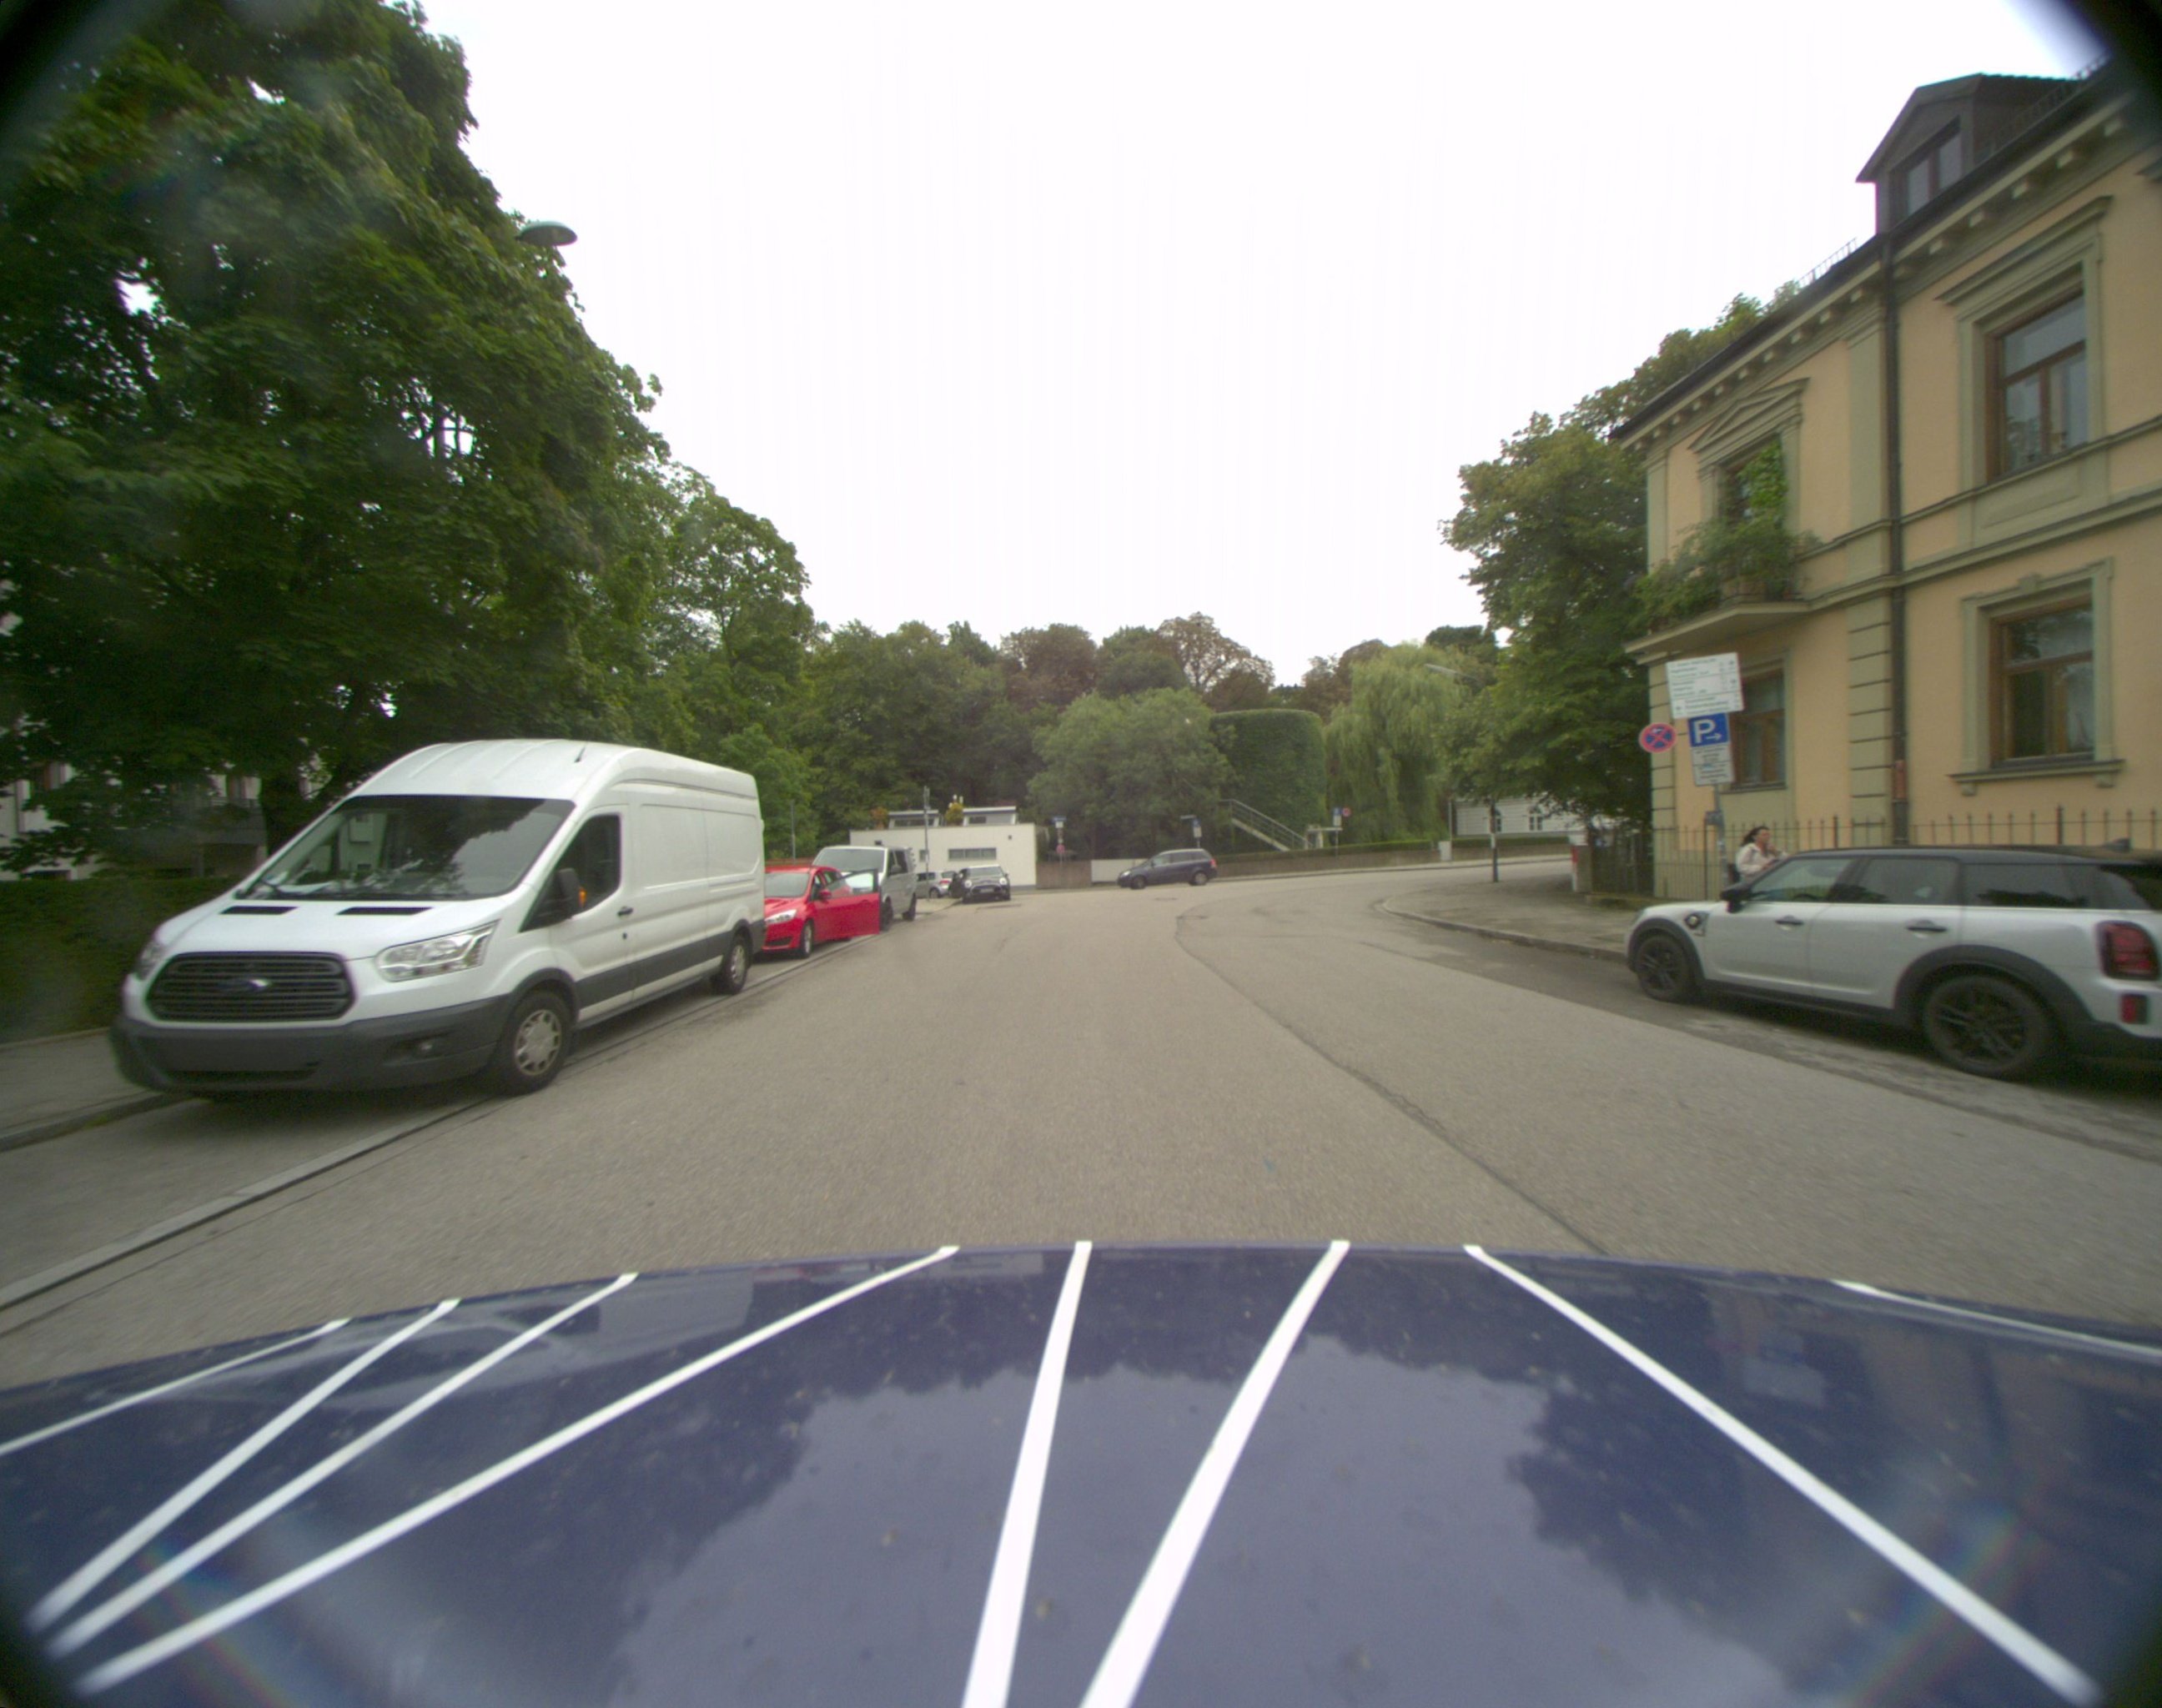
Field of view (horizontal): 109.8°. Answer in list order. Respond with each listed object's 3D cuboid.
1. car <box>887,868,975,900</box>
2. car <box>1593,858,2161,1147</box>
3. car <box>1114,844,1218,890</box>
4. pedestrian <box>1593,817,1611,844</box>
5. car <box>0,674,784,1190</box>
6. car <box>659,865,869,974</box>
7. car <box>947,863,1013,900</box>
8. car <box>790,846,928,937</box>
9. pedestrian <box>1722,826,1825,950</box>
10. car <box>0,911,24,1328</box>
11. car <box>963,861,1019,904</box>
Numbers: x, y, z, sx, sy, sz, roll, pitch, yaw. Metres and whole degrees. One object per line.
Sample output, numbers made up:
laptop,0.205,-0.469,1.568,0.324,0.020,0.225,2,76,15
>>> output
car,-7.495,1.502,37.925,4.005,1.437,1.945,-4,-2,32
car,6.819,0.827,6.360,1.941,1.526,4.530,1,0,-1
car,3.733,0.596,34.162,4.331,1.682,2.000,-4,-2,-1
pedestrian,33.556,-1.505,48.934,0.769,1.697,0.678,-3,5,-39
car,-4.824,0.422,7.030,2.085,2.671,6.086,0,0,-4
car,-5.192,0.974,13.253,1.876,1.498,4.836,1,0,-4
car,-4.596,1.245,34.021,1.899,1.438,4.009,-4,-1,-22
car,-5.175,0.792,18.489,1.940,1.893,5.071,0,0,-1
pedestrian,9.325,0.442,10.261,0.655,1.594,0.740,-3,1,0
car,-4.760,0.969,0.329,1.876,1.560,4.999,1,0,-5
car,-3.575,1.076,29.709,1.897,1.438,4.266,-4,-1,-8
